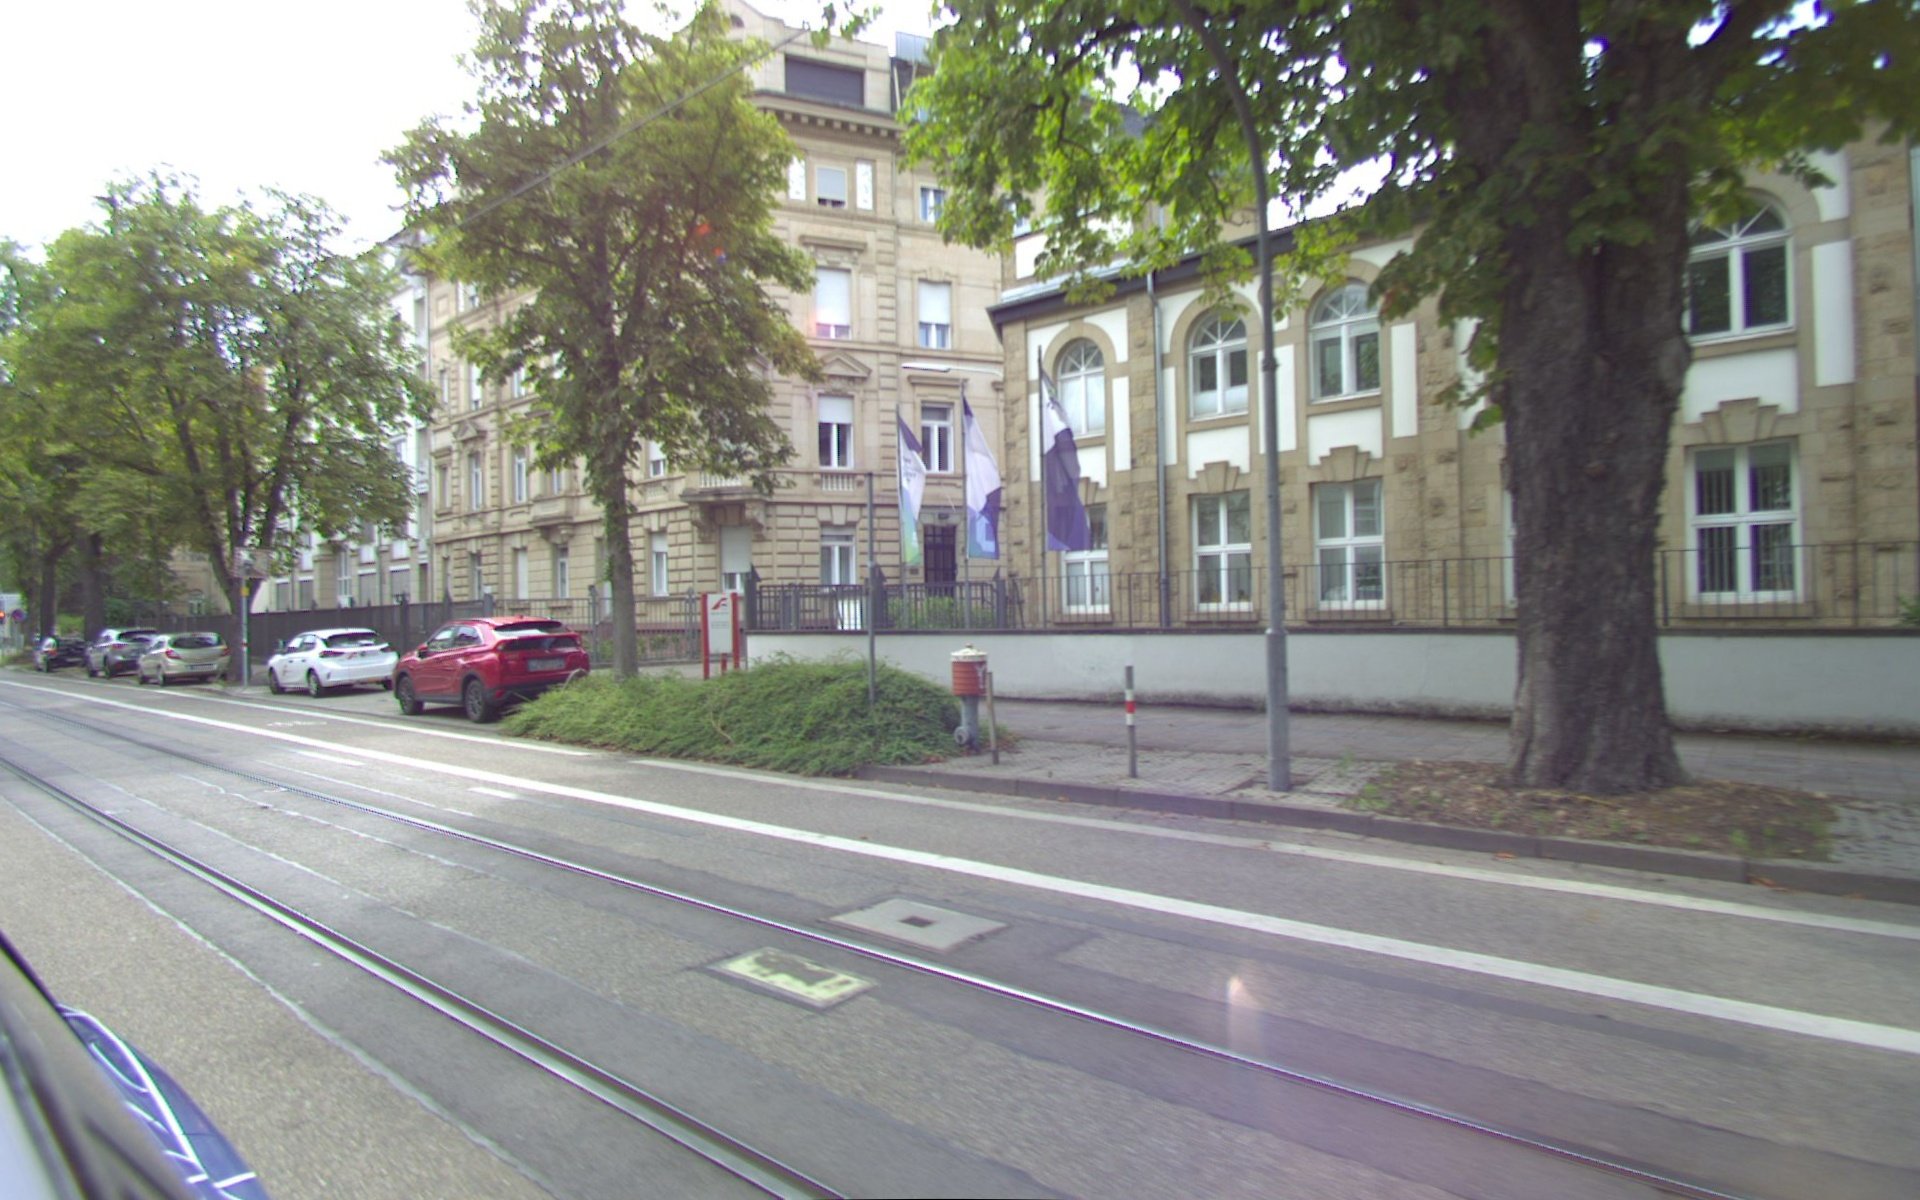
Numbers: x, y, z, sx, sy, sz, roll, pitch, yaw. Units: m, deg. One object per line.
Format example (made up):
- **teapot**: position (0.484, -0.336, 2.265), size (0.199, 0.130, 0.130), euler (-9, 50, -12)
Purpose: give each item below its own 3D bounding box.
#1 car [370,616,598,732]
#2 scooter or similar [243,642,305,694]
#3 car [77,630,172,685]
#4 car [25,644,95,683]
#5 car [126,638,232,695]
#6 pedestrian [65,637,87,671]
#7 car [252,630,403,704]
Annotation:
- **car**: position (-8.272, 1.198, 17.409), size (4.537, 1.667, 1.704), euler (-2, 1, 39)
- **scooter or similar**: position (-17.057, 1.696, 25.160), size (1.312, 1.232, 0.560), euler (-2, -1, 17)
- **car**: position (-28.495, 1.933, 34.470), size (4.353, 1.686, 1.693), euler (-2, -1, 40)
- **car**: position (-37.675, 2.607, 42.334), size (4.164, 1.435, 1.702), euler (-2, 1, 42)
- **car**: position (-22.786, 1.895, 29.478), size (4.075, 1.479, 1.584), euler (-2, -1, 40)
- **pedestrian**: position (-45.886, 2.806, 52.551), size (0.699, 1.748, 0.699), euler (-2, 0, 35)
- **car**: position (-14.595, 1.492, 23.283), size (4.019, 1.434, 1.704), euler (-2, 1, 39)
